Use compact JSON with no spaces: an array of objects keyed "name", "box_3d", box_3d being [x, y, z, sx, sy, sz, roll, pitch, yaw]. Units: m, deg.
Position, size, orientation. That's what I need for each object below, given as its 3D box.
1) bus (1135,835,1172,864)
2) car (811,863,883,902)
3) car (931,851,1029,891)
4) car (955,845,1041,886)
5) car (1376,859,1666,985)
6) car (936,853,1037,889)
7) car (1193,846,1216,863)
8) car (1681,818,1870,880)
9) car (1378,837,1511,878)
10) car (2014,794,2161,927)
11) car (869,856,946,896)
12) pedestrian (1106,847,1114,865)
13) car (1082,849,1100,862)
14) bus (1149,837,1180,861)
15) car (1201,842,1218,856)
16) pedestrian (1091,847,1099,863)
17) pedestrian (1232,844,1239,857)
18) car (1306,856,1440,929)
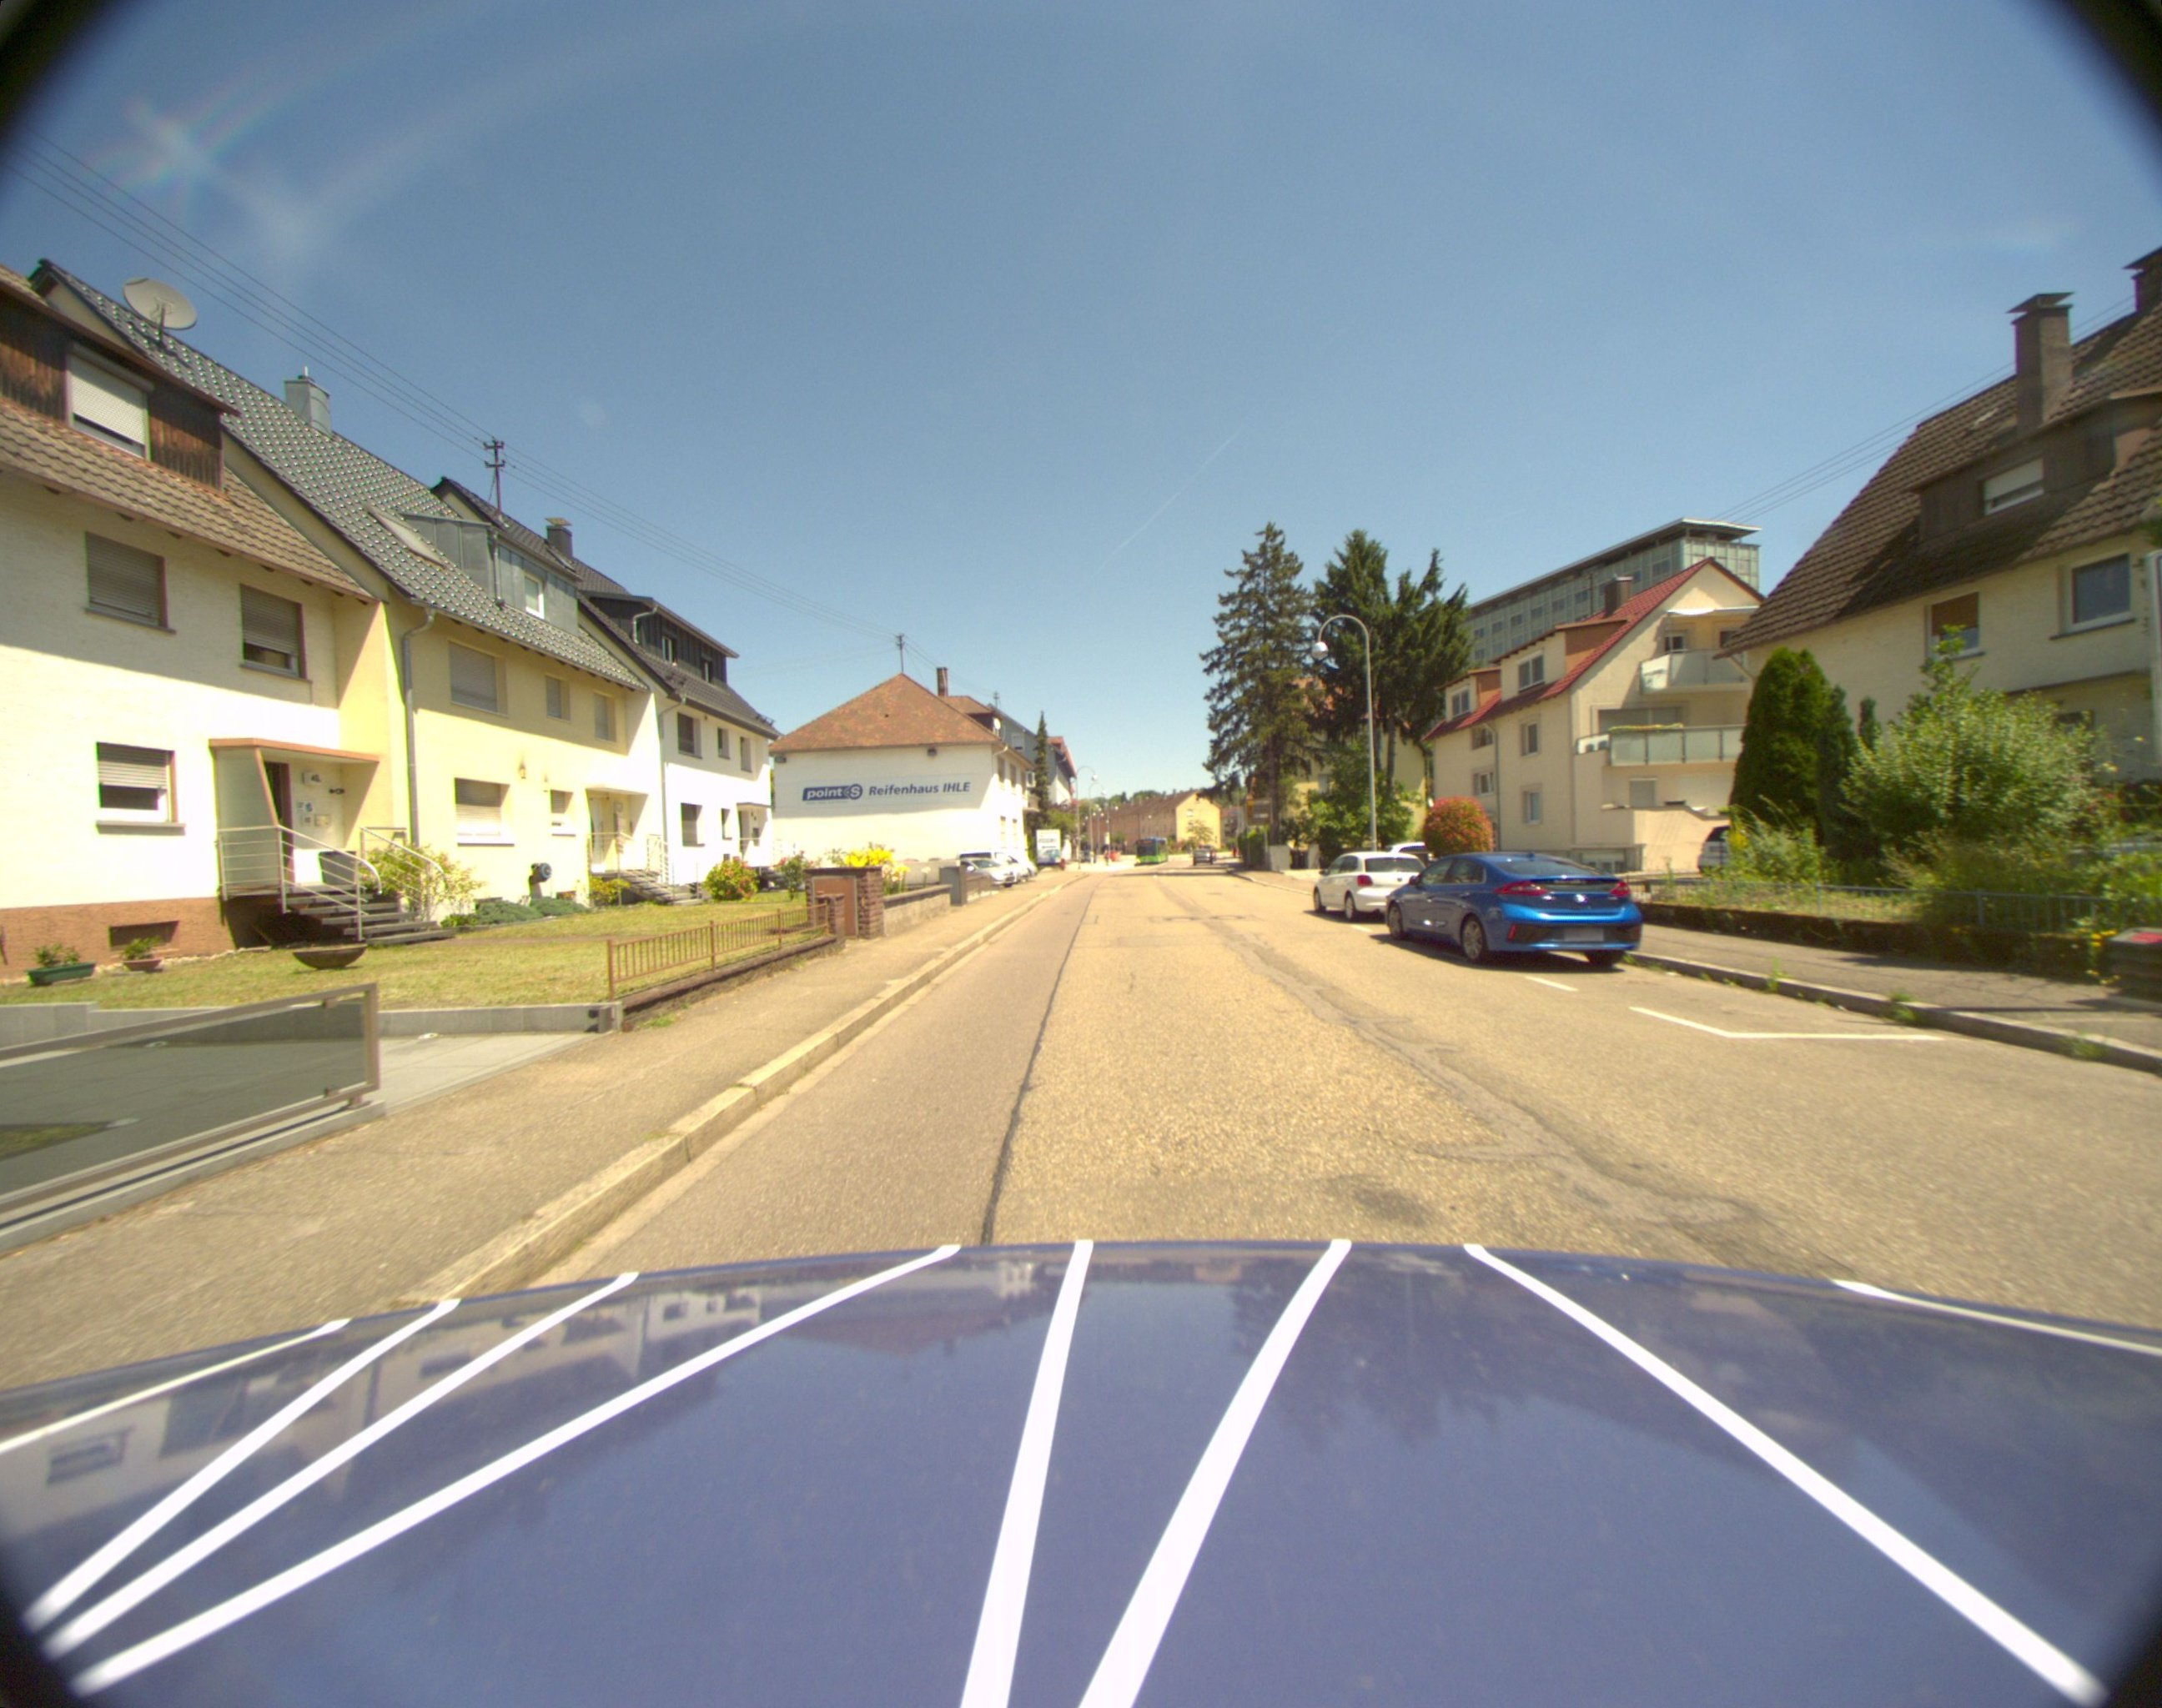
[{"name":"bus","box_3d":[8.707,-0.541,89.971,2.908,3.062,12.573,-2,0,12]},{"name":"car","box_3d":[-10.799,1.326,34.919,1.716,1.553,4.109,-5,1,-37]},{"name":"car","box_3d":[-4.688,0.780,35.004,4.293,1.539,1.759,-4,1,36]},{"name":"car","box_3d":[-4.395,0.595,40.616,4.302,1.820,1.739,-5,0,-4]},{"name":"car","box_3d":[5.910,0.794,10.932,1.773,1.430,4.363,0,0,2]},{"name":"car","box_3d":[-4.676,0.847,38.070,4.650,1.400,1.769,-5,0,5]},{"name":"car","box_3d":[11.619,0.050,71.340,1.743,1.496,4.147,0,0,15]},{"name":"car","box_3d":[19.772,-0.128,21.748,3.793,1.527,1.647,-3,-1,1]},{"name":"car","box_3d":[14.697,0.130,30.920,4.477,1.433,1.848,-3,0,7]},{"name":"car","box_3d":[13.443,0.086,8.088,1.773,1.500,4.361,-3,2,2]},{"name":"car","box_3d":[-8.099,1.028,35.153,1.641,1.633,4.294,-5,1,-39]},{"name":"pedestrian","box_3d":[3.118,0.213,81.217,0.751,1.795,0.615,1,2,-10]},{"name":"car","box_3d":[1.239,0.177,90.960,1.761,1.505,3.742,2,1,5]},{"name":"bus","box_3d":[11.387,-0.683,102.287,2.926,3.044,12.573,-2,0,12]},{"name":"car","box_3d":[14.537,-0.534,85.741,1.809,1.480,4.391,0,-1,10]},{"name":"pedestrian","box_3d":[1.467,0.097,79.829,0.614,1.606,0.751,1,1,21]},{"name":"pedestrian","box_3d":[18.586,-0.440,91.367,0.614,1.555,0.824,-7,0,8]},{"name":"car","box_3d":[6.309,0.758,16.878,1.582,1.415,3.941,1,0,2]}]
